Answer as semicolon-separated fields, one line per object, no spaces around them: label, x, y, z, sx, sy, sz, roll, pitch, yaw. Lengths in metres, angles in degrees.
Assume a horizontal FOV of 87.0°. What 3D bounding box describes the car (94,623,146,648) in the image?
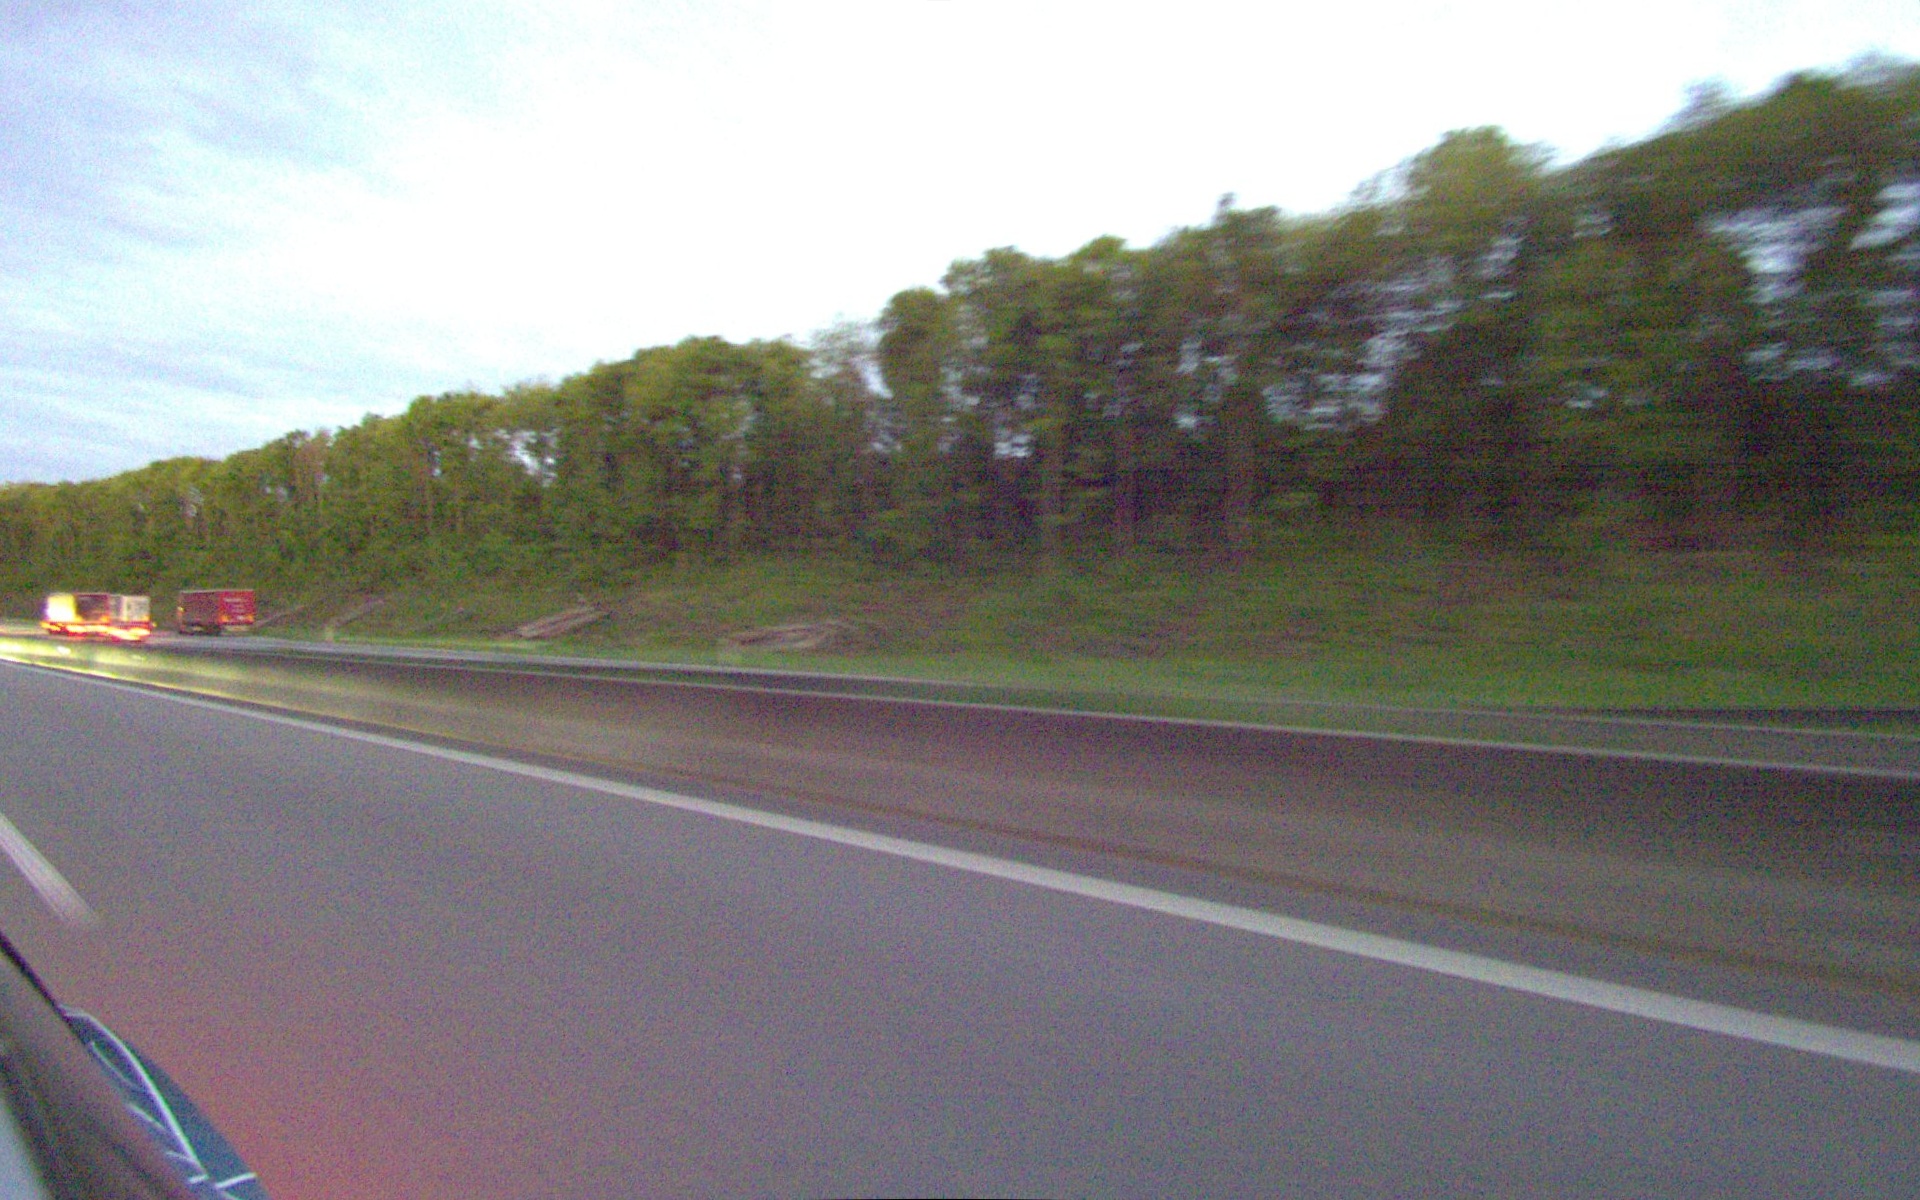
car;-54.506;2.264;65.636;4.651;1.587;1.861;-1;-2;41

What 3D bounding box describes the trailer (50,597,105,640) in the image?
trailer;-83.768;1.756;96.001;10.181;3.960;2.619;-1;-1;42

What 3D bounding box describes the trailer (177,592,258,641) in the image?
trailer;-67.593;1.440;91.964;14.180;4.136;3.157;0;0;42

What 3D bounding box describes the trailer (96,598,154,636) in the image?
trailer;-97.420;1.880;117.943;13.735;4.136;3.157;0;0;42

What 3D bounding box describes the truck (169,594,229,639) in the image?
truck;-72.475;1.543;96.293;7.687;4.136;3.157;0;0;42

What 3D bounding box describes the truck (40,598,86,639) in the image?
truck;-90.198;1.836;101.744;7.119;4.002;2.619;-1;-1;42
